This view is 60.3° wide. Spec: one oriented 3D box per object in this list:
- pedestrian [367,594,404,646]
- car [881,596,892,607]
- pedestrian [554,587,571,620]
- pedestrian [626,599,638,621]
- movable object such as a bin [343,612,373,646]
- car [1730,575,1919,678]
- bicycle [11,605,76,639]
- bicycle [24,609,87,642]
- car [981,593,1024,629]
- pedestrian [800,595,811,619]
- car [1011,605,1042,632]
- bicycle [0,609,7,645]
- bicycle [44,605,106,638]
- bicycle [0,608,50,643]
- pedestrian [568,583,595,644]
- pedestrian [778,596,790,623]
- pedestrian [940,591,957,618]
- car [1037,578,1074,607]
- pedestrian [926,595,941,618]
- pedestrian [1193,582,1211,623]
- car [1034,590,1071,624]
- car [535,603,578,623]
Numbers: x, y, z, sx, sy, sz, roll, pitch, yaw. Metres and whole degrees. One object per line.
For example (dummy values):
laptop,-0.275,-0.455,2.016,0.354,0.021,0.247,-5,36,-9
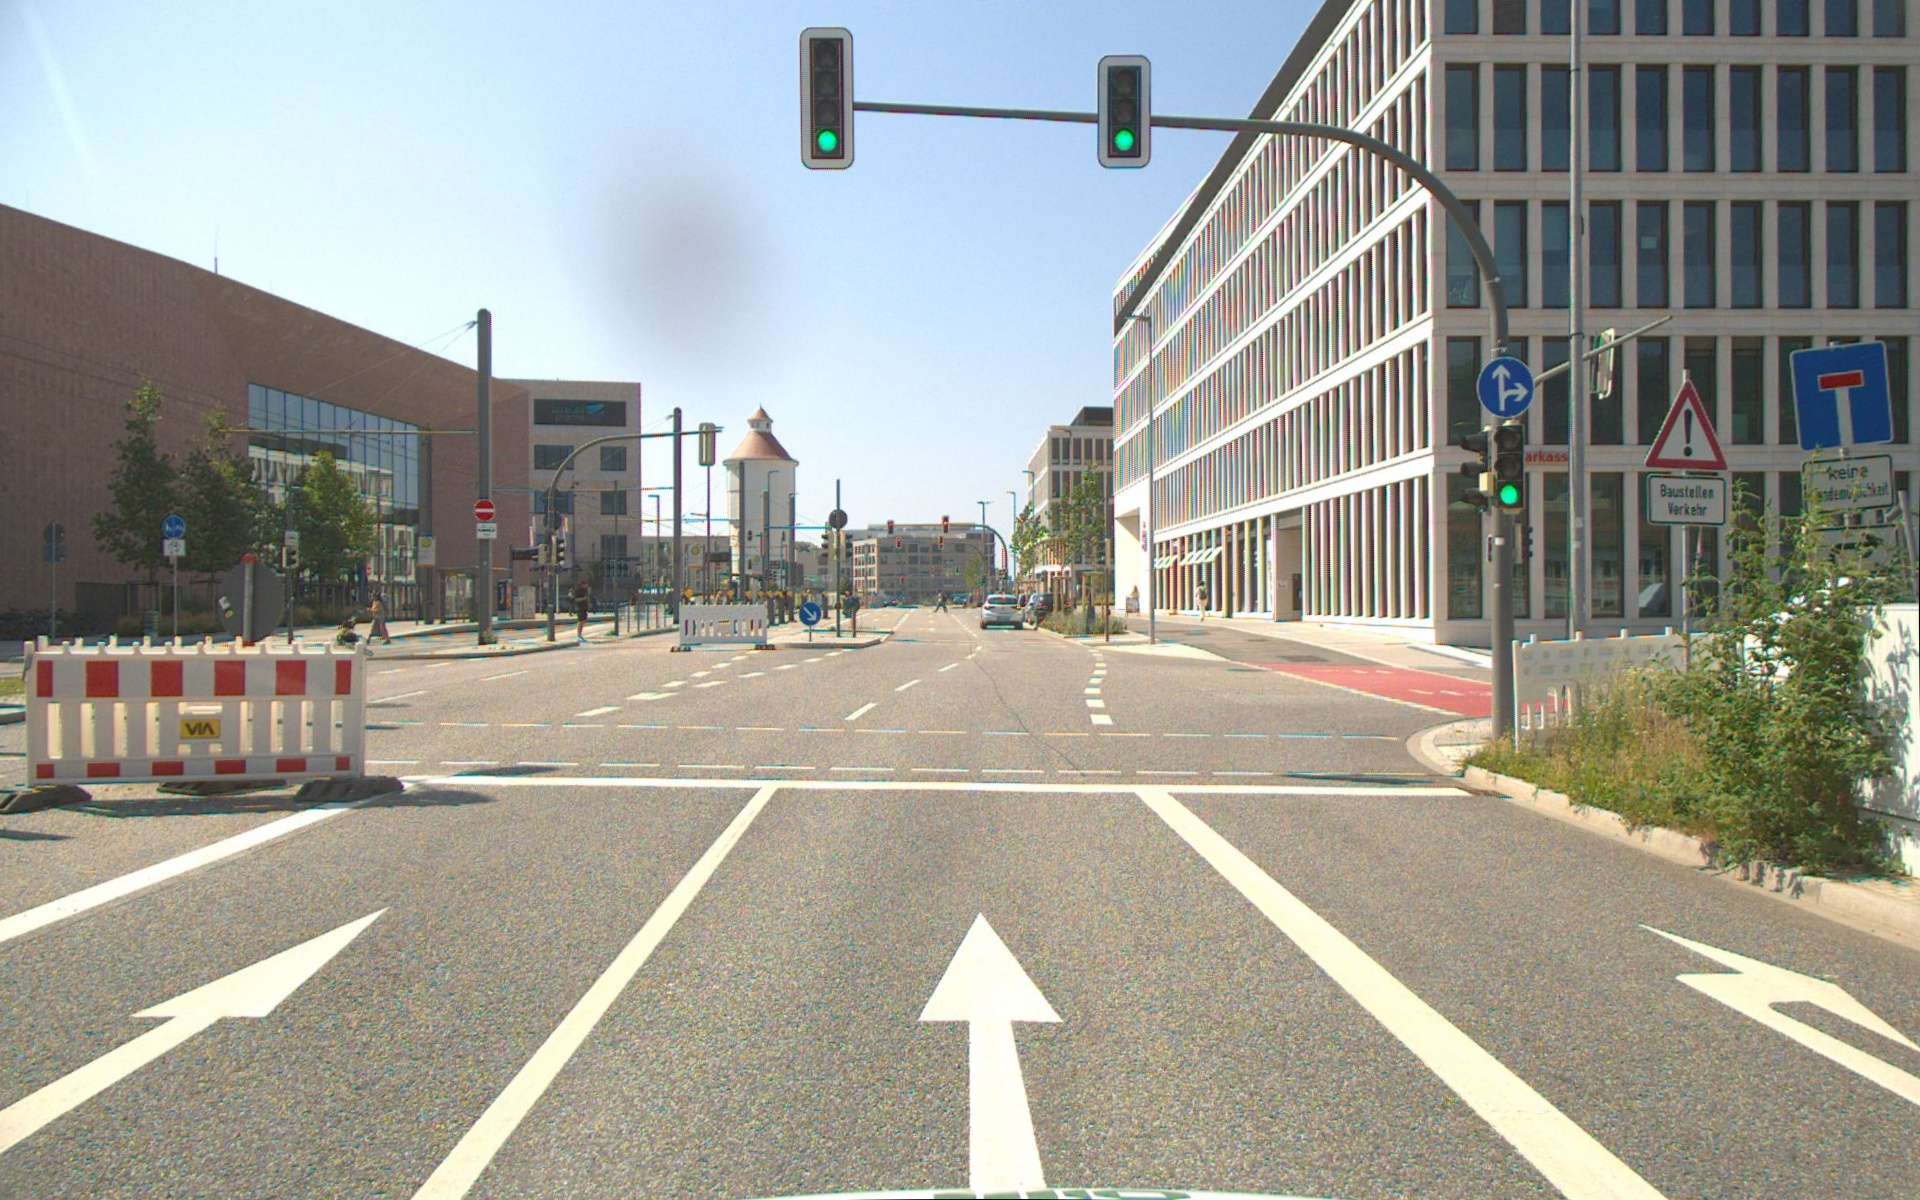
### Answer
pedestrian,-17.877,0.624,51.431,0.921,1.590,0.785,0,0,-34
car,-10.890,0.253,246.106,1.555,1.557,3.691,1,-1,-2
pedestrian,-22.827,0.200,94.986,0.794,1.852,0.825,1,0,-1
pedestrian,-23.971,0.740,120.996,0.696,1.599,0.890,0,0,-2
movable object such as a bin,-18.563,0.892,50.971,0.706,1.050,0.785,0,0,-33
car,22.014,0.668,40.010,5.718,2.310,2.146,2,0,-1
bicycle,-34.108,0.820,61.554,2.015,1.233,0.538,0,0,-12
bicycle,-34.471,0.961,63.047,2.015,1.233,0.538,0,0,-12
car,1.799,0.491,70.565,1.735,1.419,3.531,1,-1,1
pedestrian,-11.447,0.522,122.750,0.750,1.764,0.692,0,0,0
car,3.698,1.013,92.653,1.524,1.498,3.469,0,0,-1
bicycle,-33.290,0.903,55.702,2.015,1.233,0.538,0,0,-12
bicycle,-34.183,0.829,63.901,2.015,1.233,0.538,0,0,-12
bicycle,-33.859,0.921,59.467,1.848,1.233,0.745,0,0,-8
pedestrian,-11.708,0.414,51.161,0.639,1.865,0.661,1,0,3
pedestrian,-12.731,0.676,119.620,0.750,1.923,0.692,0,0,0
pedestrian,-0.890,0.311,125.774,1.005,2.049,0.949,0,0,-19
car,4.778,-0.375,82.931,1.572,1.412,3.814,1,0,-1
pedestrian,-2.037,0.497,125.230,0.880,1.703,1.007,0,0,-19
pedestrian,10.421,0.097,71.181,0.615,1.773,0.814,0,0,-1
car,4.351,0.339,77.588,1.700,1.500,3.982,0,-1,3
car,-38.602,1.285,158.263,3.873,1.848,1.792,1,-1,-13
